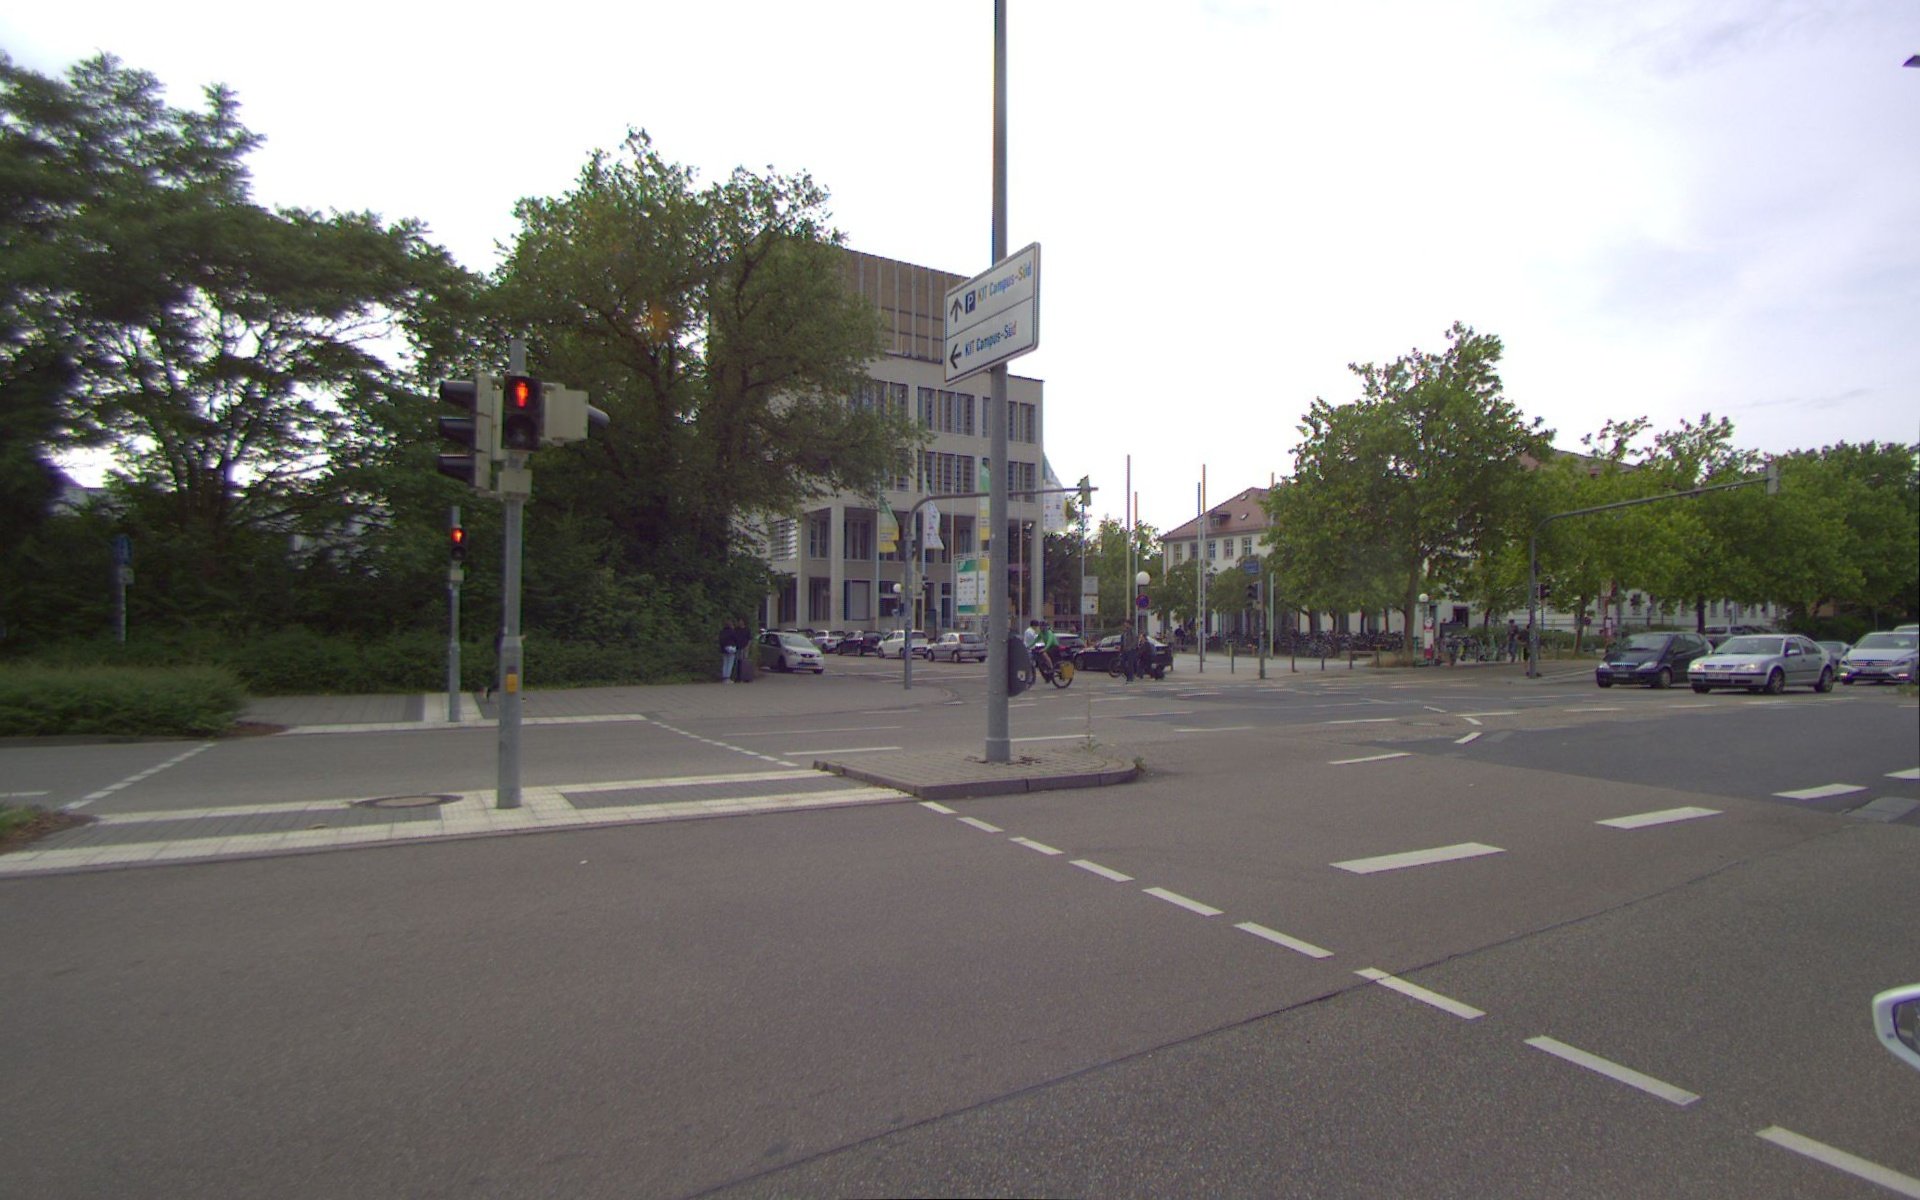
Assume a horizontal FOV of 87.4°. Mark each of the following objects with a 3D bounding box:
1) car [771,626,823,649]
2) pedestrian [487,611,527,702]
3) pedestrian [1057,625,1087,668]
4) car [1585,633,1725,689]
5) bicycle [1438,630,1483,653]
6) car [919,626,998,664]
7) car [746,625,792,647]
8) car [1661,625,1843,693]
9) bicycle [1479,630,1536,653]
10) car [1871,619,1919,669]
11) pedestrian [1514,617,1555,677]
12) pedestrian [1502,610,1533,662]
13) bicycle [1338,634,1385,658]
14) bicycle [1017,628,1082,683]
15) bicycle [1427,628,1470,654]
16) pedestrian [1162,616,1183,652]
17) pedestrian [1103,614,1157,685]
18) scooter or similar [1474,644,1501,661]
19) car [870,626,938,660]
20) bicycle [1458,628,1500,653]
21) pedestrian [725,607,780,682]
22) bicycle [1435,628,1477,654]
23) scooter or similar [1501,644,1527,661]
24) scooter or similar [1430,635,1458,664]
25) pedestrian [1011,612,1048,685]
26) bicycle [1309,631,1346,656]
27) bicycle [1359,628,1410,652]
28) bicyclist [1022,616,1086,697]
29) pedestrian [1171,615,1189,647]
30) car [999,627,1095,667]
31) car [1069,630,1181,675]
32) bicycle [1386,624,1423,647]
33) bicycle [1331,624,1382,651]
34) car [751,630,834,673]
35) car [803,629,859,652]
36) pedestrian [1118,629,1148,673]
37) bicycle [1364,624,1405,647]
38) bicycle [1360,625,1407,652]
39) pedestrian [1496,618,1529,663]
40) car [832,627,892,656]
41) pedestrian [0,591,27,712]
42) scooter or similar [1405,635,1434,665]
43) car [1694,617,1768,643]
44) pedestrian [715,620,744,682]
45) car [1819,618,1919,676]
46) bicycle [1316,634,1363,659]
[{"bbox_3d":[-10.639,2.450,65.353,1.973,1.415,3.868,1,-2,-32],"label":"car"},{"bbox_3d":[-8.828,1.081,19.568,0.645,1.718,0.586,1,0,-30],"label":"pedestrian"},{"bbox_3d":[5.370,2.209,48.221,1.006,2.040,0.997,1,-2,-33],"label":"pedestrian"},{"bbox_3d":[19.517,1.662,28.183,3.653,1.483,1.844,1,-2,-30],"label":"car"},{"bbox_3d":[26.041,2.168,52.301,2.005,1.168,0.718,-1,-2,40],"label":"bicycle"},{"bbox_3d":[-0.103,2.156,49.013,1.979,1.601,3.962,1,0,-34],"label":"car"},{"bbox_3d":[-13.214,2.495,69.214,1.938,1.475,3.651,1,-2,-32],"label":"car"},{"bbox_3d":[19.539,1.395,24.766,4.219,1.549,1.986,1,-2,-28],"label":"car"},{"bbox_3d":[30.153,2.276,55.408,0.715,1.190,2.727,1,-2,-36],"label":"bicycle"},{"bbox_3d":[38.205,1.743,39.960,4.439,1.872,1.762,1,0,-32],"label":"car"},{"bbox_3d":[19.904,1.631,34.824,0.999,2.040,0.888,1,-2,-35],"label":"pedestrian"},{"bbox_3d":[22.271,1.421,40.124,0.918,2.040,0.795,1,0,-40],"label":"pedestrian"},{"bbox_3d":[22.827,2.609,57.182,0.715,1.286,2.517,1,-2,-36],"label":"bicycle"},{"bbox_3d":[2.409,1.447,26.759,0.597,1.351,2.302,1,0,37],"label":"bicycle"},{"bbox_3d":[30.685,2.585,63.180,0.715,1.615,2.382,1,-2,-36],"label":"bicycle"},{"bbox_3d":[12.136,1.929,57.327,0.783,2.040,1.092,-1,-2,40],"label":"pedestrian"},{"bbox_3d":[5.092,1.457,30.060,1.165,2.040,1.137,1,0,38],"label":"pedestrian"},{"bbox_3d":[22.947,2.272,43.677,1.274,0.703,0.404,1,0,-31],"label":"scooter or similar"},{"bbox_3d":[-3.014,2.242,53.278,1.835,1.706,3.963,1,-2,-34],"label":"car"},{"bbox_3d":[34.078,2.648,65.927,0.715,1.615,2.382,1,-2,-36],"label":"bicycle"},{"bbox_3d":[-5.780,1.213,28.012,1.022,2.040,1.099,1,0,26],"label":"pedestrian"},{"bbox_3d":[31.565,2.601,63.944,0.715,1.615,2.382,1,-2,-36],"label":"bicycle"},{"bbox_3d":[24.419,2.299,44.260,1.274,0.703,0.404,1,0,-31],"label":"scooter or similar"},{"bbox_3d":[18.940,1.930,39.325,1.305,1.155,0.358,1,-2,-33],"label":"scooter or similar"},{"bbox_3d":[2.073,1.416,29.933,0.844,2.086,0.662,-3,2,-33],"label":"pedestrian"},{"bbox_3d":[23.950,2.818,65.531,0.907,1.579,2.659,0,-2,-15],"label":"bicycle"},{"bbox_3d":[24.886,2.328,58.907,0.715,1.347,2.798,1,-2,-36],"label":"bicycle"},{"bbox_3d":[2.483,1.448,26.535,1.165,2.040,1.276,1,0,38],"label":"bicyclist"},{"bbox_3d":[14.079,1.969,64.329,0.785,2.040,0.892,1,-2,-26],"label":"pedestrian"},{"bbox_3d":[3.689,1.987,43.152,1.981,1.491,3.959,1,0,-36],"label":"car"},{"bbox_3d":[6.379,2.002,39.207,1.981,1.491,4.113,1,0,-36],"label":"car"},{"bbox_3d":[31.399,2.471,70.941,0.907,1.579,2.659,0,-2,-15],"label":"bicycle"},{"bbox_3d":[23.089,2.180,58.544,0.916,1.579,2.633,1,-2,-43],"label":"bicycle"},{"bbox_3d":[-6.333,1.899,37.746,1.843,1.469,3.563,1,-1,-33],"label":"car"},{"bbox_3d":[-7.966,2.478,61.837,1.986,1.379,3.965,1,-2,-32],"label":"car"},{"bbox_3d":[5.999,1.754,34.801,0.687,1.447,0.998,1,0,29],"label":"pedestrian"},{"bbox_3d":[29.687,2.494,70.268,0.907,1.579,3.079,0,-2,-15],"label":"bicycle"},{"bbox_3d":[25.326,2.285,60.087,0.916,1.579,2.421,1,-2,-43],"label":"bicycle"},{"bbox_3d":[22.940,1.684,41.697,0.927,1.827,0.889,1,-3,-36],"label":"pedestrian"},{"bbox_3d":[-5.630,2.363,57.336,1.868,1.574,3.965,1,-2,-32],"label":"car"},{"bbox_3d":[-16.686,0.861,17.175,0.811,2.040,0.904,1,0,-25],"label":"pedestrian"},{"bbox_3d":[17.589,1.905,38.460,1.305,1.155,0.358,1,-2,-33],"label":"scooter or similar"},{"bbox_3d":[51.266,1.962,66.833,1.635,1.623,3.562,1,0,-35],"label":"car"},{"bbox_3d":[-6.209,1.368,27.022,0.597,1.627,0.497,1,-3,-42],"label":"pedestrian"},{"bbox_3d":[27.888,1.389,30.126,4.206,1.604,1.948,0,-3,-31],"label":"car"},{"bbox_3d":[21.223,2.580,56.226,0.715,1.371,2.467,1,-2,-36],"label":"bicycle"}]
